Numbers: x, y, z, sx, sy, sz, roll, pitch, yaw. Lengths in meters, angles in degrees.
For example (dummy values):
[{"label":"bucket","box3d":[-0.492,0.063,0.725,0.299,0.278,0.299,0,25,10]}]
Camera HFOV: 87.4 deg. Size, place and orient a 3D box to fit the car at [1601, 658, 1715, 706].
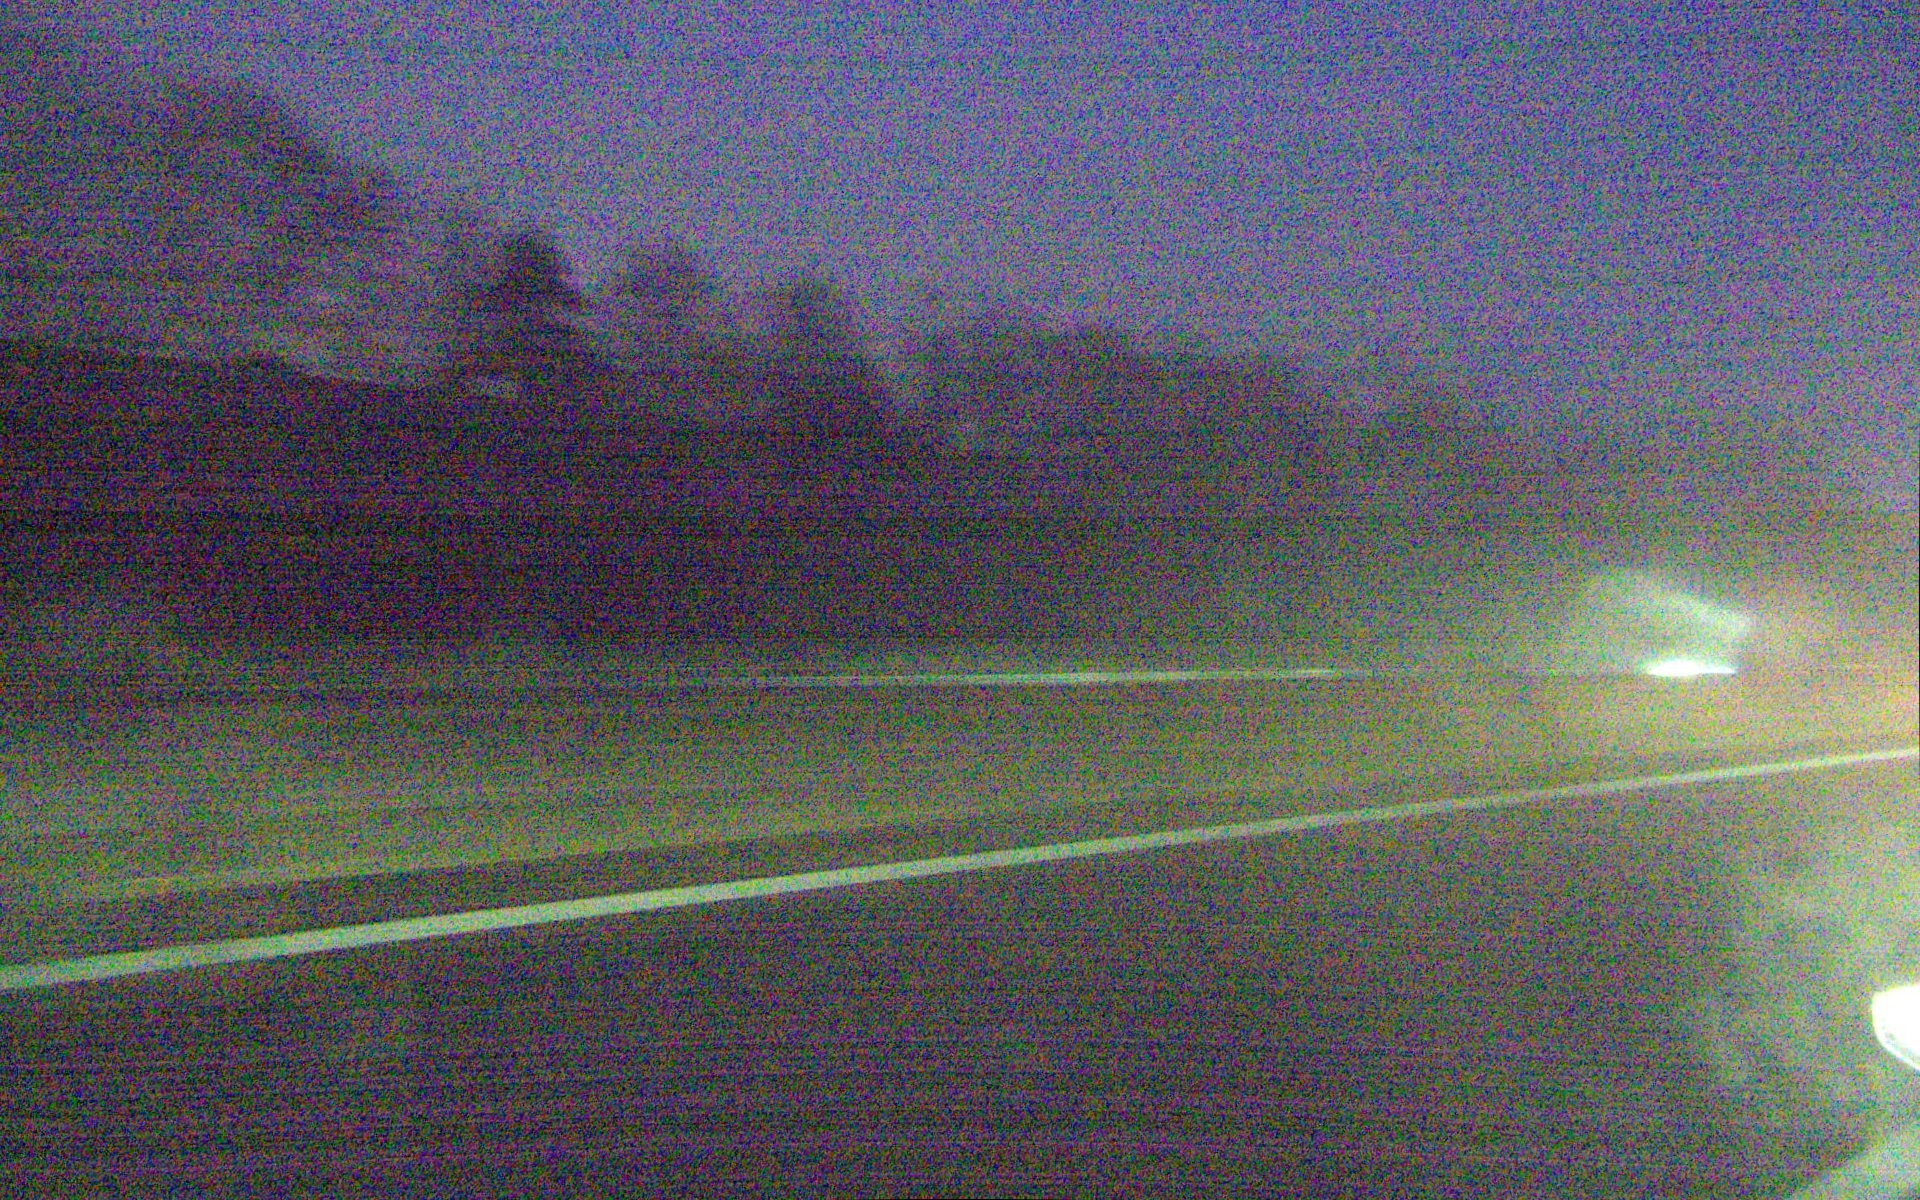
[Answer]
[{"label":"car","box3d":[25.985,3.013,37.404,3.952,1.506,1.984,1,1,-30]}]
